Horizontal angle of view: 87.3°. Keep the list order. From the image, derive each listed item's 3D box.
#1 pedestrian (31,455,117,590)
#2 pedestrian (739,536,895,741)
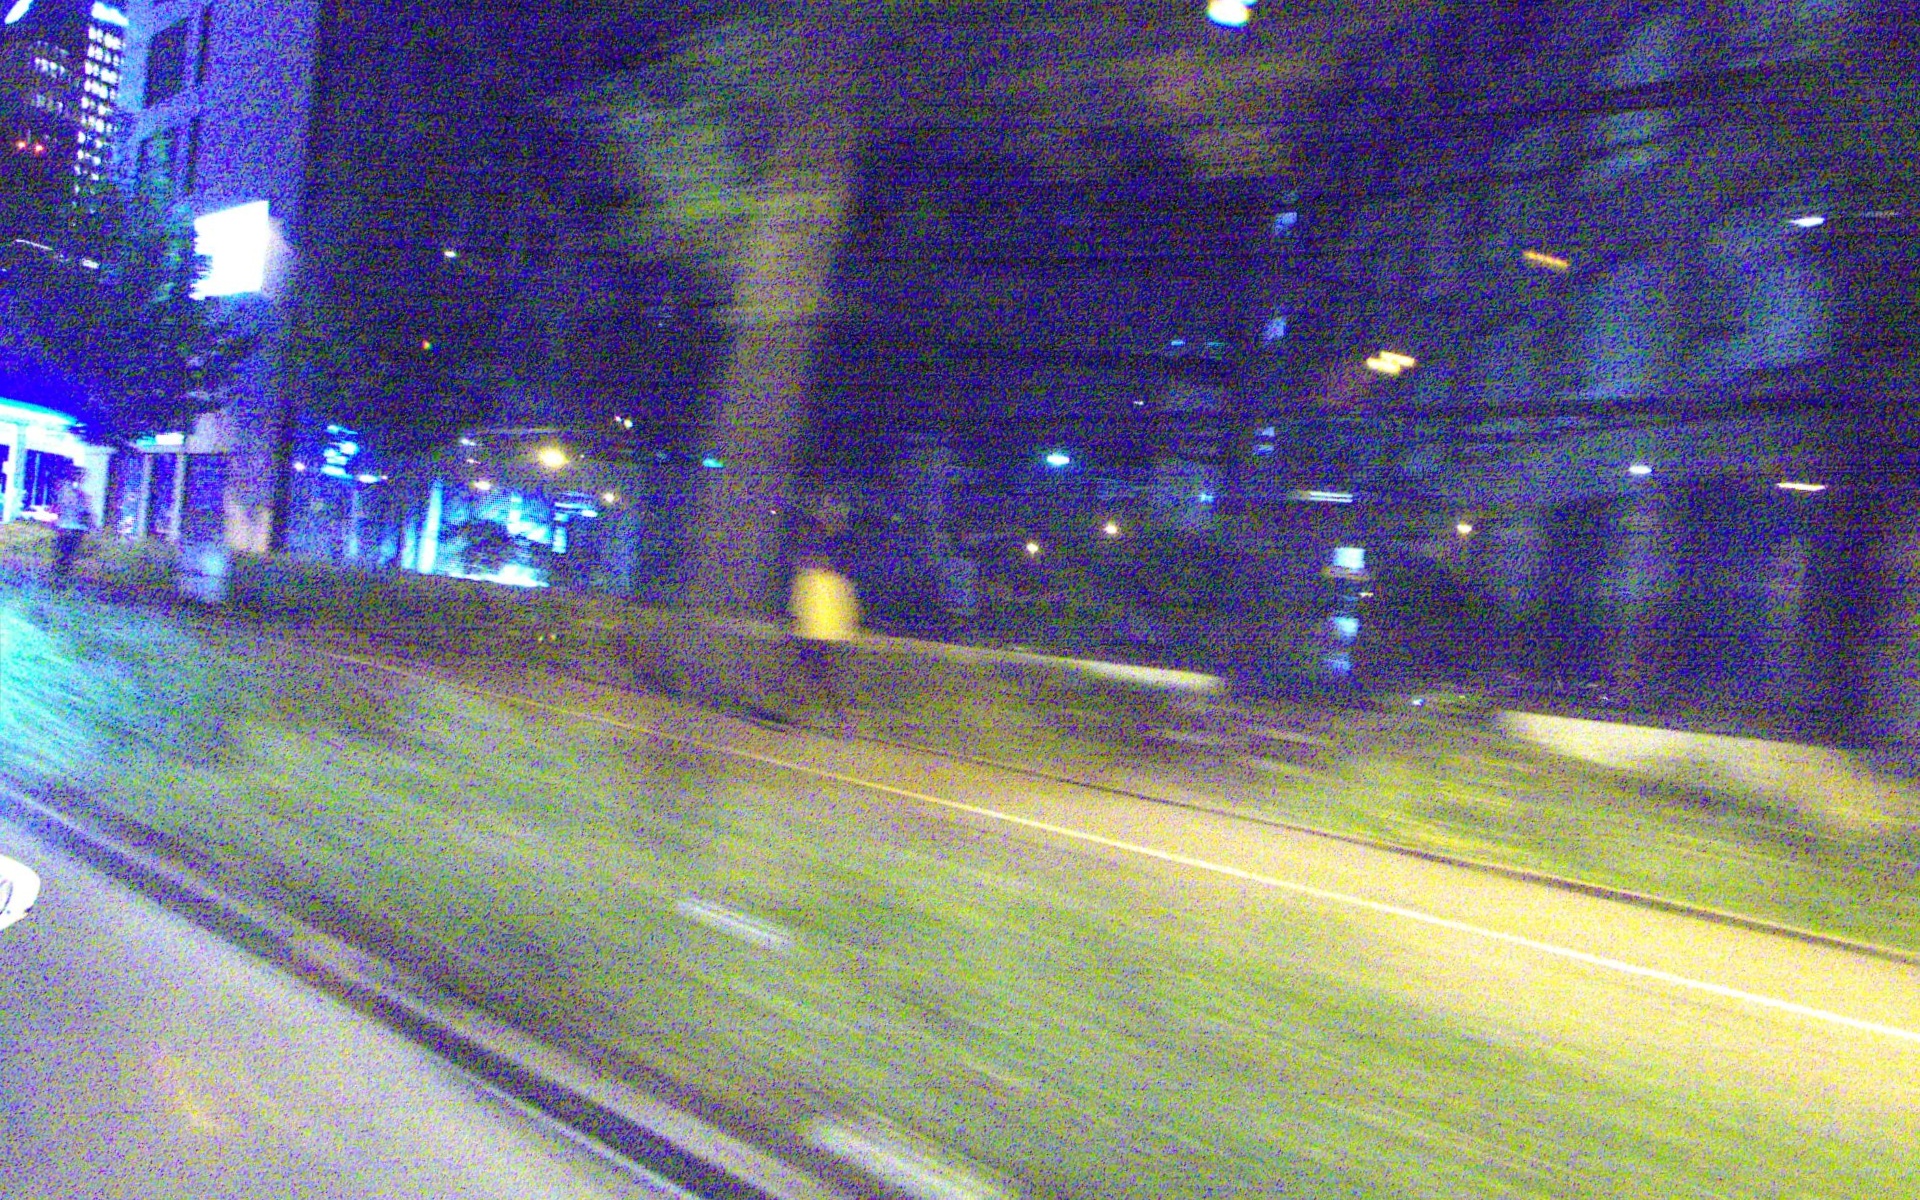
[{"bbox_3d":[-13.549,-1.175,15.384,0.782,1.939,0.803,7,3,39],"label":"pedestrian"},{"bbox_3d":[-1.312,0.349,9.317,0.941,1.728,0.854,6,0,31],"label":"pedestrian"}]
